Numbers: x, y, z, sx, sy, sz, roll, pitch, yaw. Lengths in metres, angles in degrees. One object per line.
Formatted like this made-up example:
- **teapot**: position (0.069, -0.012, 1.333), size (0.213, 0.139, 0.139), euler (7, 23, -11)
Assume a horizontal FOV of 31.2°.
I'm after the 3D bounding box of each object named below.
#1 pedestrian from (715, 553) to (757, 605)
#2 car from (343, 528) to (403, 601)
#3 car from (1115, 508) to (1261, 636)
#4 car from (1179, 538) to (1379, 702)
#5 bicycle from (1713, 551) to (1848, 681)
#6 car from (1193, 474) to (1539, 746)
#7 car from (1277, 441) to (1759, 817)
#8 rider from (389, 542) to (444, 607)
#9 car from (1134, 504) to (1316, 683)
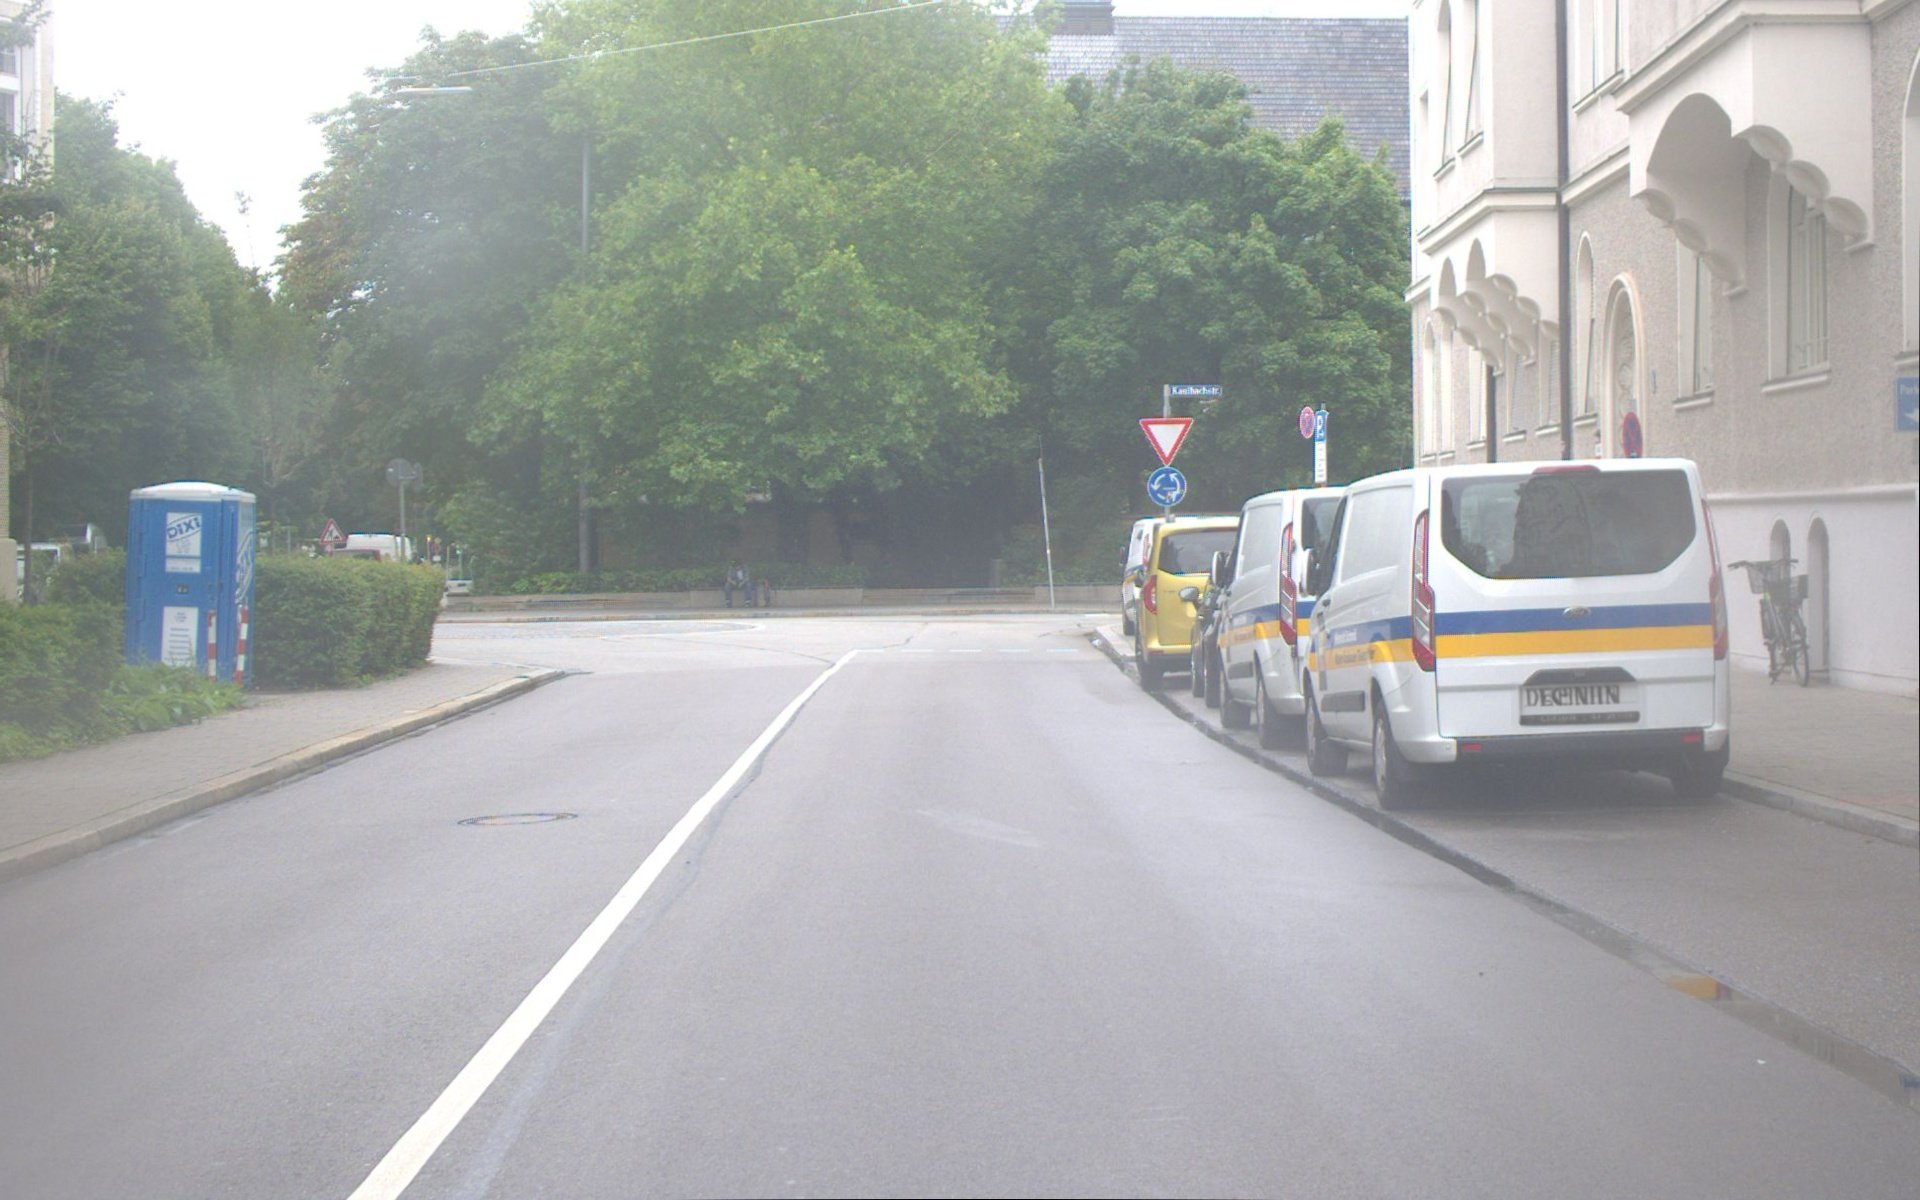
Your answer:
- **pedestrian**: position (-5.185, -0.494, 79.685), size (0.812, 1.185, 0.919), euler (-1, 1, 6)
- **car**: position (-21.341, -1.306, 124.862), size (2.041, 2.549, 5.250), euler (-1, 1, -10)
- **car**: position (3.715, -0.495, 56.804), size (1.915, 1.955, 4.927), euler (-2, 1, -1)
- **car**: position (3.053, 0.152, 33.498), size (1.631, 1.479, 3.783), euler (-1, 1, 1)
- **bicycle**: position (7.387, 0.129, 31.037), size (0.694, 1.090, 2.037), euler (-3, 1, 1)
- **car**: position (3.114, 0.028, 27.414), size (1.959, 1.930, 4.994), euler (-1, 1, -2)
- **car**: position (3.280, 0.114, 21.270), size (1.959, 2.007, 4.994), euler (-1, 1, -2)
- **rider**: position (-14.652, -0.690, 92.713), size (1.082, 1.662, 1.139), euler (-3, 1, 8)
- **car**: position (2.908, -0.117, 38.590), size (1.850, 1.846, 4.820), euler (-1, 1, 3)
